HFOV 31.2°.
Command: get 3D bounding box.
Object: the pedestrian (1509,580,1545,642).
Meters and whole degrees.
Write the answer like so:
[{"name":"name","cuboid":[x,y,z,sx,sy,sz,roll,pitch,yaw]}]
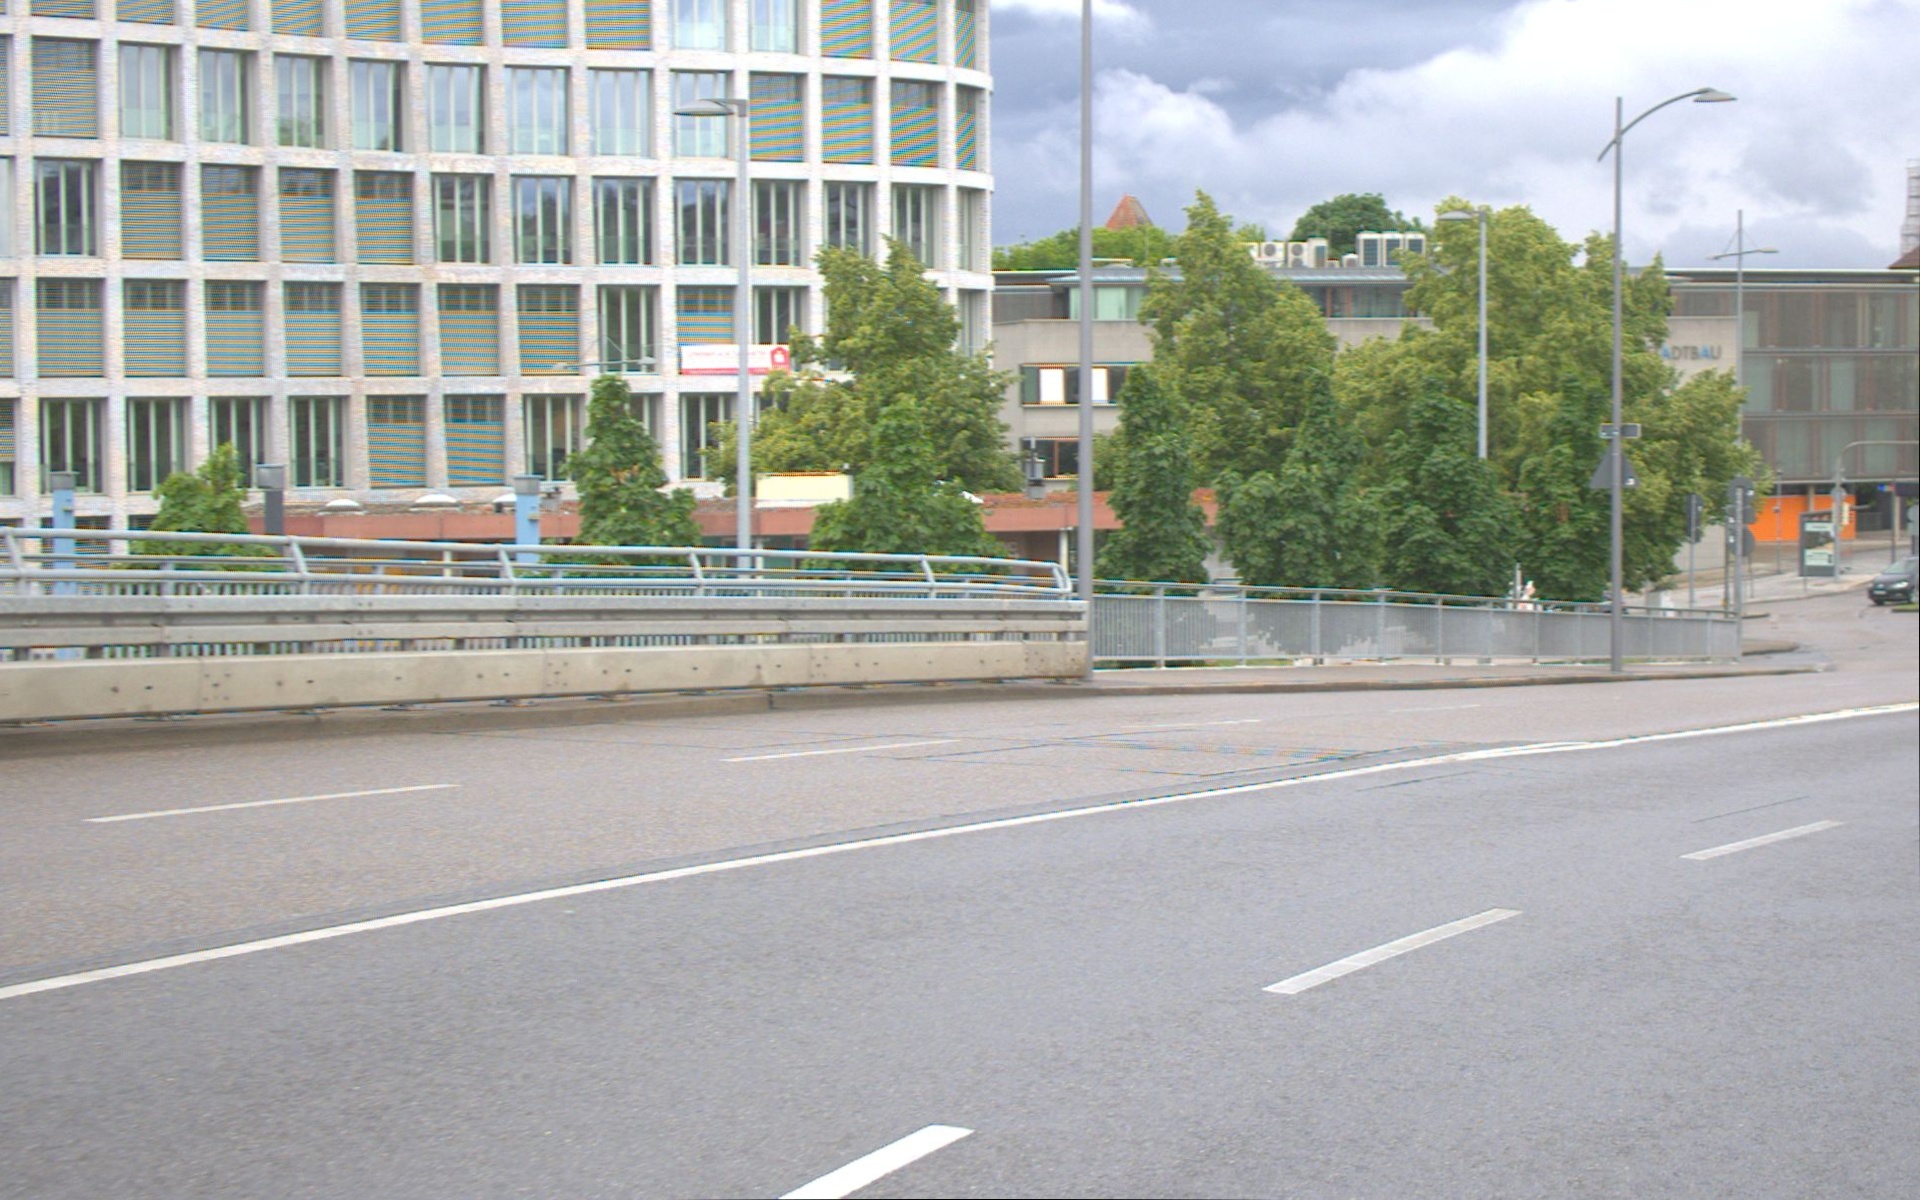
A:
[{"name":"pedestrian","cuboid":[13.123,0.252,79.595,0.649,1.404,0.530,1,2,31]}]
